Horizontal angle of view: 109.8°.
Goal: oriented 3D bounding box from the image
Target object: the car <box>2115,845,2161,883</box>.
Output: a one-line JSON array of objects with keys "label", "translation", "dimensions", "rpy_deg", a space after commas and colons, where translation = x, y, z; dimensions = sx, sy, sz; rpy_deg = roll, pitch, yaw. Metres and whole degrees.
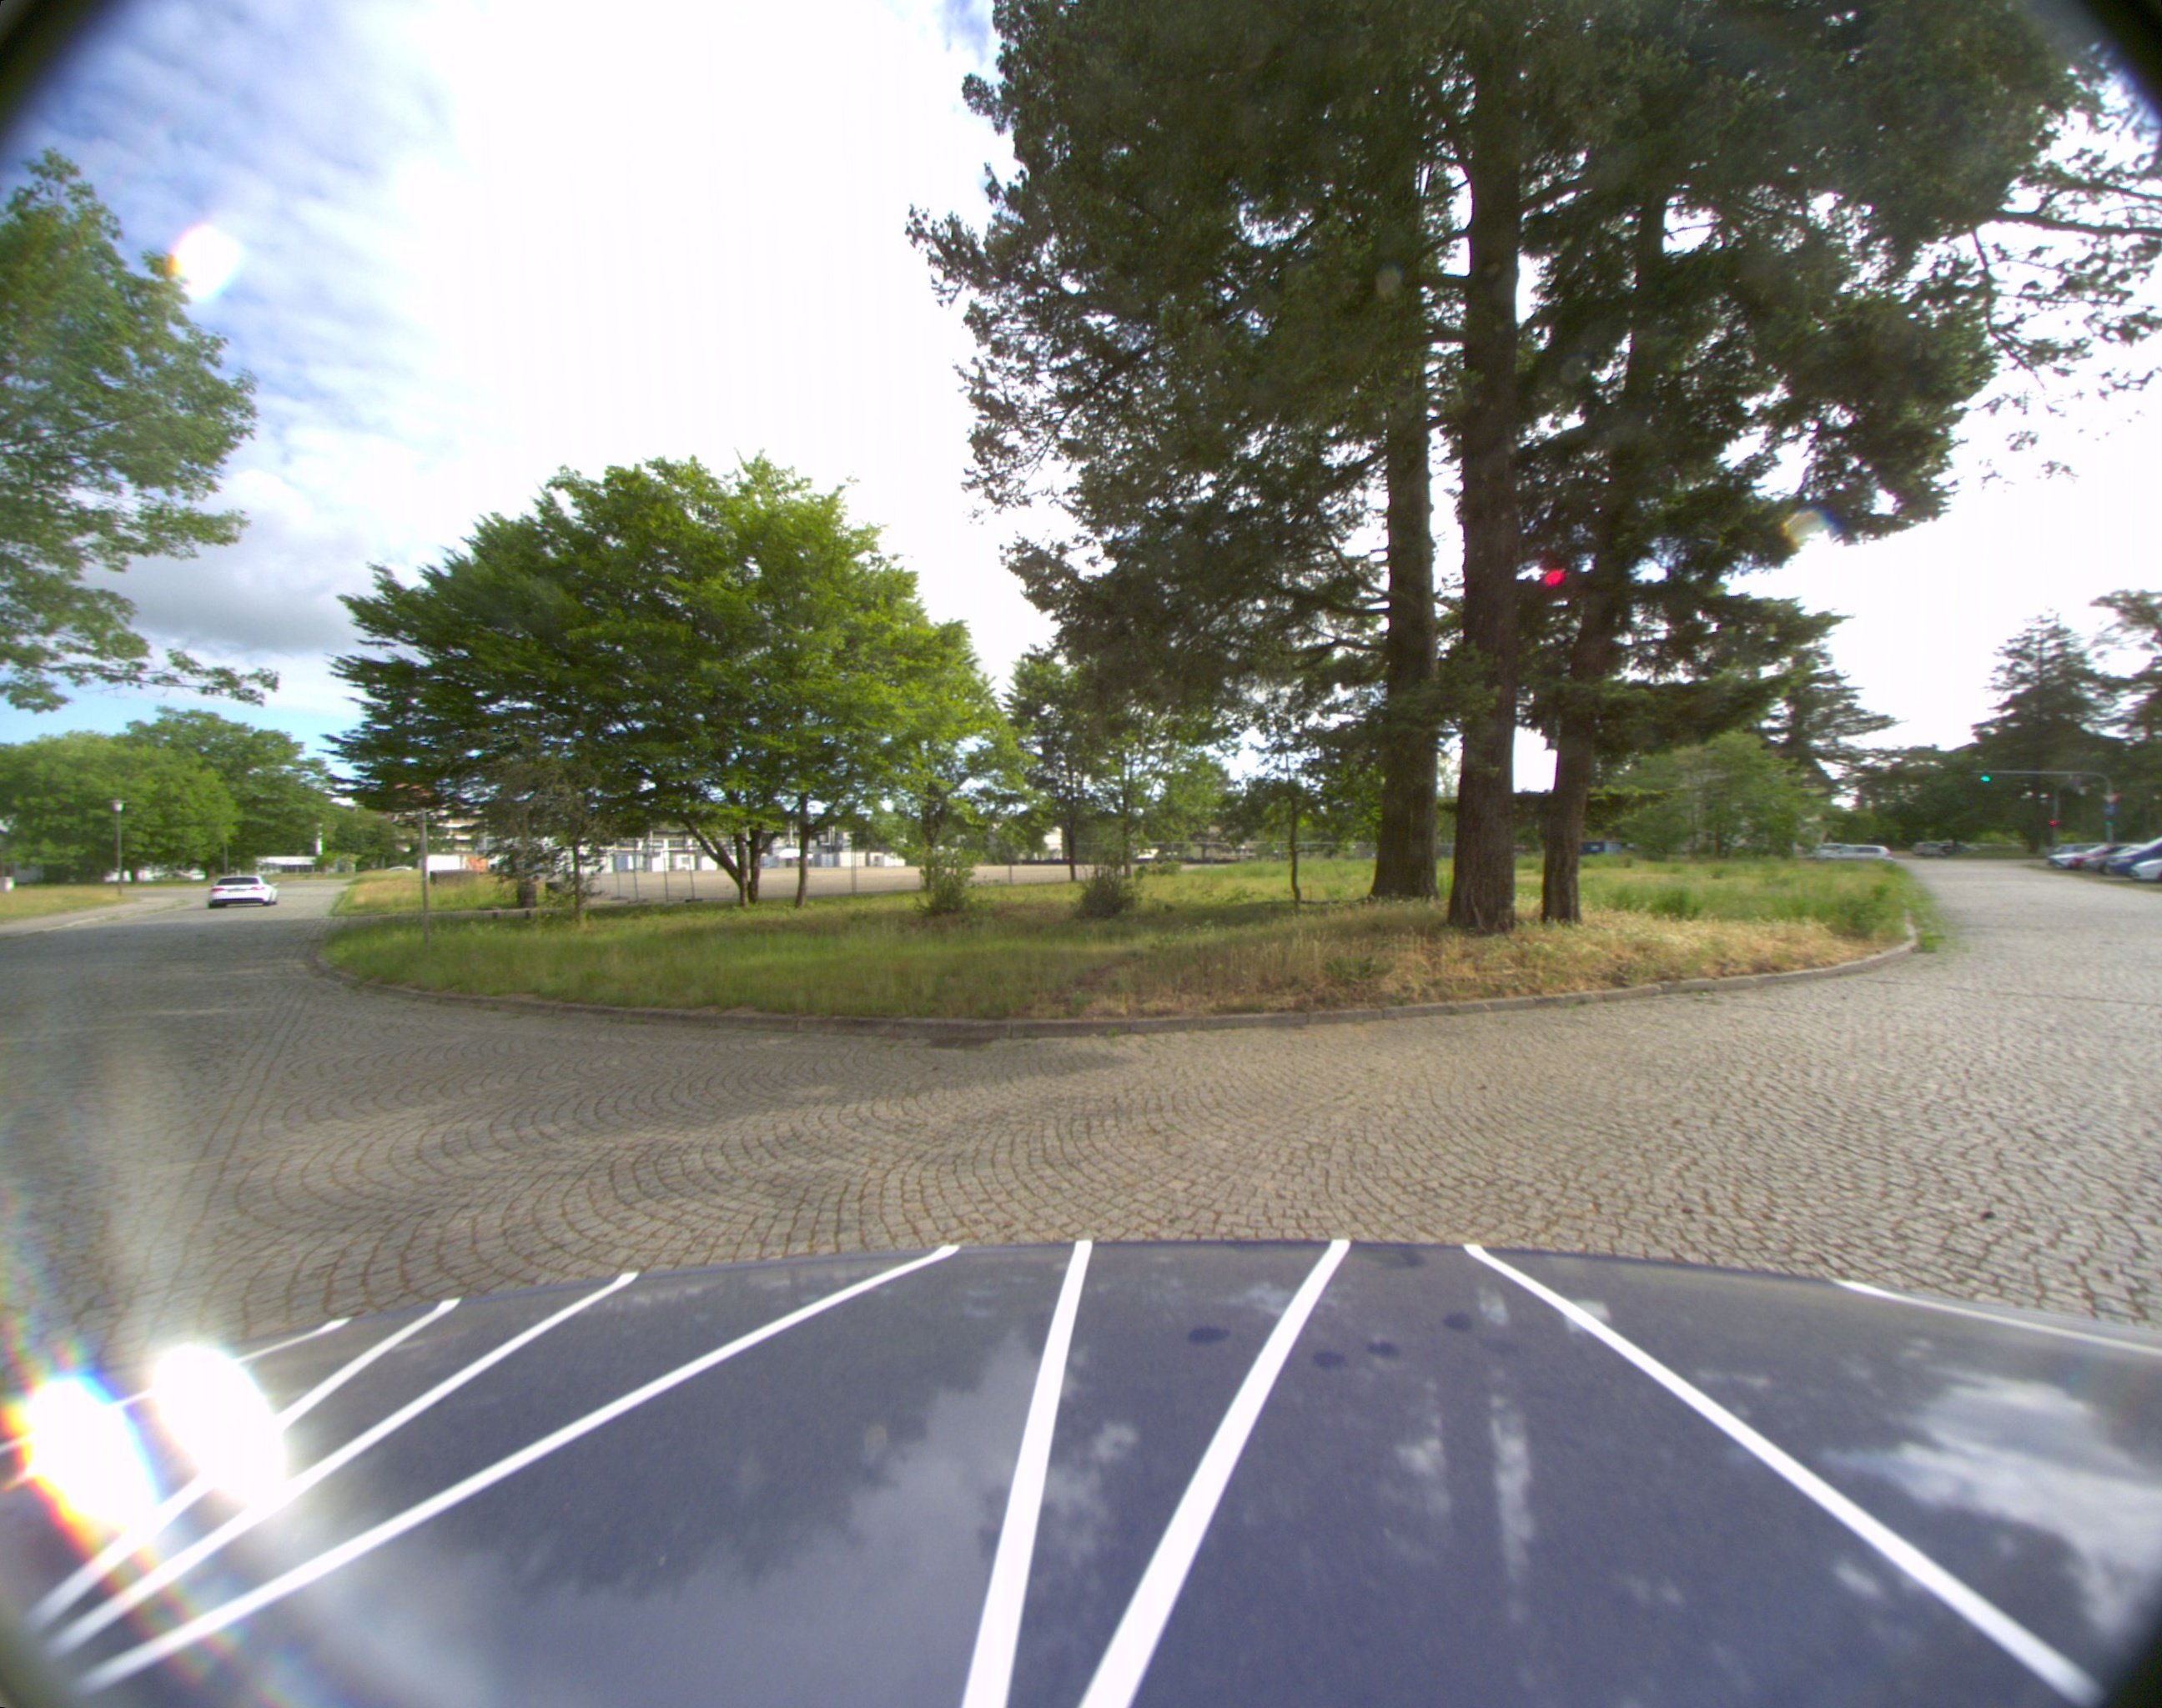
[{"label": "car", "translation": [43.232, 0.322, 29.169], "dimensions": [1.746, 1.384, 3.923], "rpy_deg": [-2, -1, -45]}]

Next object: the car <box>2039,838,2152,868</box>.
[{"label": "car", "translation": [58.235, -0.064, 43.722], "dimensions": [3.564, 1.478, 1.606], "rpy_deg": [-4, -1, 39]}]

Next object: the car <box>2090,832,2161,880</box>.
[{"label": "car", "translation": [45.235, 0.010, 30.841], "dimensions": [2.166, 1.854, 4.824], "rpy_deg": [-2, -1, -45]}]

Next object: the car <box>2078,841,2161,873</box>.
[{"label": "car", "translation": [53.433, 0.115, 38.256], "dimensions": [3.564, 1.425, 1.610], "rpy_deg": [-4, -1, 40]}]

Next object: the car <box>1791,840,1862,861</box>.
[{"label": "car", "translation": [57.602, -0.250, 58.804], "dimensions": [3.722, 1.429, 1.630], "rpy_deg": [-3, -1, 39]}]

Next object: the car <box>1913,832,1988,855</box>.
[{"label": "car", "translation": [109.305, -1.294, 95.649], "dimensions": [5.784, 2.547, 2.775], "rpy_deg": [-4, -1, 41]}]

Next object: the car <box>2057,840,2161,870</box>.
[{"label": "car", "translation": [55.524, 0.057, 40.740], "dimensions": [3.564, 1.408, 1.641], "rpy_deg": [-4, -1, 40]}]

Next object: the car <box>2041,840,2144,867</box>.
[{"label": "car", "translation": [62.541, -0.019, 47.056], "dimensions": [3.446, 1.423, 1.631], "rpy_deg": [-4, -1, 37]}]

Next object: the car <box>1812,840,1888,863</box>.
[{"label": "car", "translation": [54.738, -0.154, 54.177], "dimensions": [3.722, 1.429, 1.630], "rpy_deg": [-3, 0, 43]}]

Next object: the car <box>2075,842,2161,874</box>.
[{"label": "car", "translation": [51.172, 0.186, 36.669], "dimensions": [3.591, 1.412, 1.621], "rpy_deg": [-3, -1, 40]}]

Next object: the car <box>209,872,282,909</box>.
[{"label": "car", "translation": [-37.581, 1.604, 34.282], "dimensions": [1.858, 1.429, 4.692], "rpy_deg": [-2, 1, -44]}]
